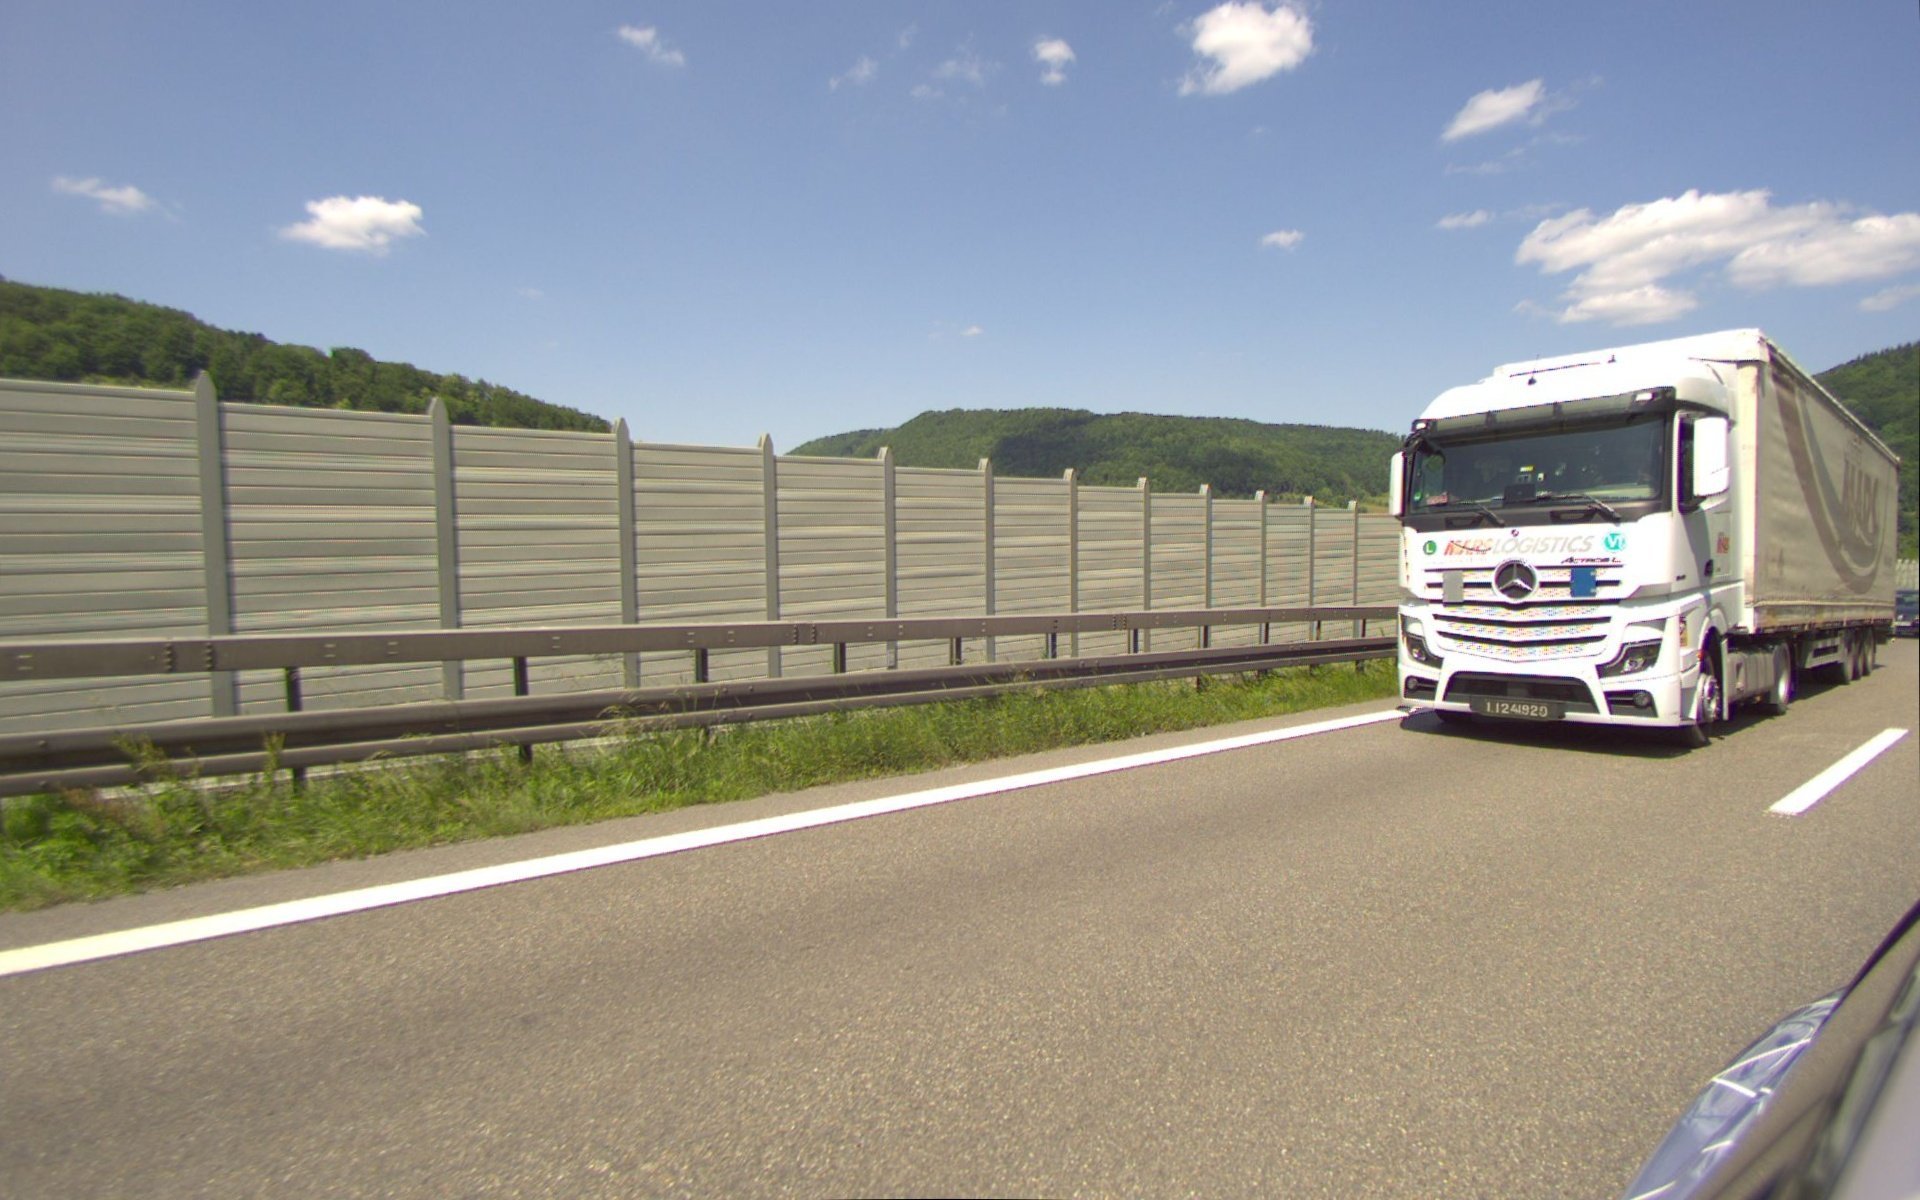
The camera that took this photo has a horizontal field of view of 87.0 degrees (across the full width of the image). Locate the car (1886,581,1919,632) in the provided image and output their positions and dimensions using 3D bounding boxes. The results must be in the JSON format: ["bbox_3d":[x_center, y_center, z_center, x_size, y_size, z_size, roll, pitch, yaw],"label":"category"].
[{"bbox_3d":[29.699,0.189,30.913,3.415,1.430,1.662,-1,4,-41],"label":"car"}]

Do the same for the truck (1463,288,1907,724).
[{"bbox_3d":[11.254,-0.970,14.812,11.841,4.200,2.858,-1,0,-42],"label":"truck"}]

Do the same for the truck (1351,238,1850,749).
[{"bbox_3d":[7.469,-0.930,11.383,6.705,4.087,2.763,0,4,-41],"label":"truck"}]
